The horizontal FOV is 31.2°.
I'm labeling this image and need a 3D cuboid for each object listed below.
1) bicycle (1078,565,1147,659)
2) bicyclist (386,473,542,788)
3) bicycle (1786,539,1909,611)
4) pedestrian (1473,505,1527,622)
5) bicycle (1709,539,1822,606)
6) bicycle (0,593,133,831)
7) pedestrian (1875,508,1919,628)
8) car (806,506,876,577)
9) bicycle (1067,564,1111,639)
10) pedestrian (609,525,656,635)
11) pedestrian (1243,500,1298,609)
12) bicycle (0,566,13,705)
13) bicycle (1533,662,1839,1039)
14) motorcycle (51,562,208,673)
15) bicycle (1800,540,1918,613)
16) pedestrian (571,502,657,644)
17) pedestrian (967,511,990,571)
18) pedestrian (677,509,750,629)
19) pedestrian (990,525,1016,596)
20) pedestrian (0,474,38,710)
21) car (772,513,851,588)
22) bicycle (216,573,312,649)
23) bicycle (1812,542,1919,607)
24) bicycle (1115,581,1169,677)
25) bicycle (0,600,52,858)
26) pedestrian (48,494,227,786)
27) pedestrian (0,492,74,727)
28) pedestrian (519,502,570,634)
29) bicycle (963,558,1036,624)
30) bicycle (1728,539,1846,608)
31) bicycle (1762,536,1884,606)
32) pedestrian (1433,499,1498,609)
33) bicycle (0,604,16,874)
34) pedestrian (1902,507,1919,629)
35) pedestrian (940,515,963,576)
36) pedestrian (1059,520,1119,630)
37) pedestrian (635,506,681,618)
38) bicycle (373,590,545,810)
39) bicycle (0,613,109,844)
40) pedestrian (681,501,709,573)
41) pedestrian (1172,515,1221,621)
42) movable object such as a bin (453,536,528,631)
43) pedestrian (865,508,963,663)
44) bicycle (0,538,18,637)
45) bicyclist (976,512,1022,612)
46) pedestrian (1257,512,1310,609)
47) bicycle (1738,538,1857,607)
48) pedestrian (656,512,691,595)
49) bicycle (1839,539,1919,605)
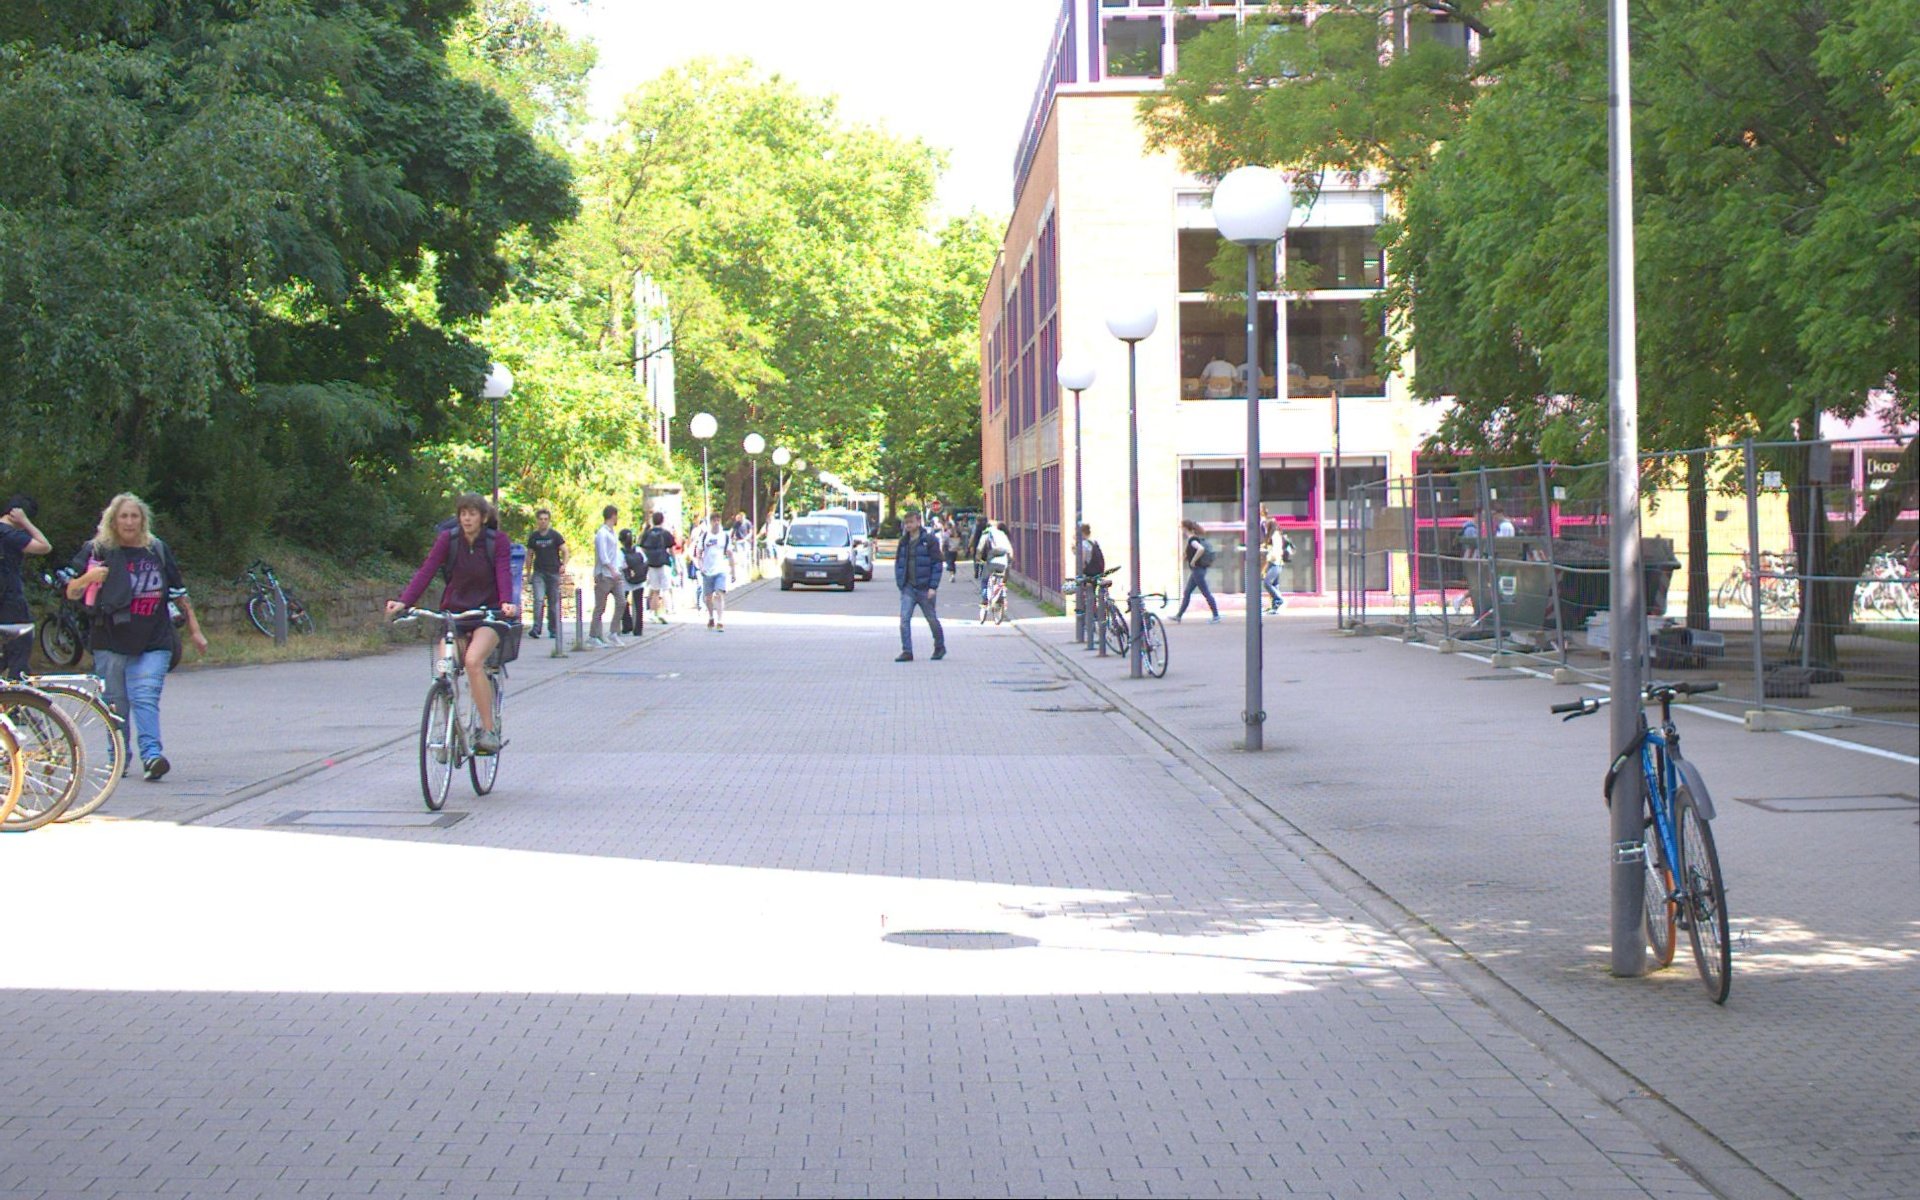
[{"bbox_3d":[1.832,0.132,41.547,0.708,1.089,1.749,0,1,-1],"label":"bicycle"},{"bbox_3d":[-2.757,0.165,19.187,0.771,1.710,0.911,1,0,-4],"label":"bicyclist"},{"bbox_3d":[14.112,-0.400,54.687,1.809,1.106,0.523,1,1,3],"label":"bicycle"},{"bbox_3d":[8.376,-0.560,53.339,0.767,1.788,0.588,-2,0,7],"label":"pedestrian"},{"bbox_3d":[13.829,-0.475,59.039,1.809,1.106,0.524,1,1,-2],"label":"bicycle"},{"bbox_3d":[-4.975,0.548,17.001,1.693,1.155,0.474,0,1,-9],"label":"bicycle"},{"bbox_3d":[13.857,-0.459,49.875,0.901,1.722,0.685,-1,-1,-5],"label":"pedestrian"},{"bbox_3d":[-3.327,-1.675,97.008,1.883,1.967,5.215,0,1,-1],"label":"car"},{"bbox_3d":[1.754,0.010,46.940,0.450,0.958,1.740,-3,1,-1],"label":"bicycle"},{"bbox_3d":[-4.824,-0.294,50.636,0.568,1.605,0.918,0,0,-13],"label":"pedestrian"},{"bbox_3d":[5.285,-0.772,58.583,0.825,1.838,0.685,0,0,-3],"label":"pedestrian"},{"bbox_3d":[-8.060,0.294,26.728,0.473,1.106,1.844,0,1,15],"label":"bicycle"},{"bbox_3d":[2.308,0.758,11.123,0.537,1.036,1.859,-1,1,-1],"label":"bicycle"},{"bbox_3d":[-8.451,0.167,34.941,2.024,1.043,0.473,3,2,42],"label":"motorcycle"},{"bbox_3d":[14.002,-0.375,53.563,1.694,1.106,0.474,1,1,3],"label":"bicycle"},{"bbox_3d":[-4.548,-0.358,45.155,0.783,1.839,1.118,0,1,-25],"label":"pedestrian"},{"bbox_3d":[0.516,-1.660,96.817,0.586,1.667,0.817,-2,0,1],"label":"pedestrian"},{"bbox_3d":[-3.892,-0.492,54.307,0.725,1.875,1.081,0,0,24],"label":"pedestrian"},{"bbox_3d":[1.035,-0.950,82.609,0.586,1.667,0.699,-2,0,1],"label":"pedestrian"},{"bbox_3d":[-7.774,-0.059,26.682,0.613,1.829,1.048,0,1,32],"label":"pedestrian"},{"bbox_3d":[-3.591,-1.240,83.822,1.790,1.755,4.482,-1,1,-1],"label":"car"},{"bbox_3d":[-8.485,0.141,41.965,0.421,0.907,1.739,0,0,14],"label":"bicycle"},{"bbox_3d":[15.804,-0.440,59.847,1.805,1.106,0.474,1,1,-6],"label":"bicycle"},{"bbox_3d":[1.880,0.288,35.629,0.395,0.932,1.732,-2,1,-1],"label":"bicycle"},{"bbox_3d":[-5.069,0.585,15.769,1.694,1.164,0.474,0,1,-7],"label":"bicycle"},{"bbox_3d":[-4.878,0.215,20.365,0.767,1.674,0.907,-2,2,-30],"label":"pedestrian"},{"bbox_3d":[-7.135,0.057,25.619,0.684,1.718,0.903,1,1,12],"label":"pedestrian"},{"bbox_3d":[-5.930,-0.454,49.127,0.682,1.866,1.121,0,0,-5],"label":"pedestrian"},{"bbox_3d":[0.673,-0.164,58.890,0.587,1.080,1.908,-1,1,-21],"label":"bicycle"},{"bbox_3d":[13.744,-0.446,57.170,1.809,1.106,0.524,1,1,-3],"label":"bicycle"},{"bbox_3d":[13.894,-0.469,55.346,1.809,1.106,0.524,1,1,-1],"label":"bicycle"},{"bbox_3d":[8.054,-0.730,54.754,0.902,1.722,0.684,-1,-1,18],"label":"pedestrian"},{"bbox_3d":[-5.028,0.598,14.918,1.776,1.164,0.474,0,1,12],"label":"bicycle"},{"bbox_3d":[14.024,-0.451,49.044,0.901,1.722,0.685,-1,-1,-5],"label":"pedestrian"},{"bbox_3d":[-0.224,-1.523,95.803,0.586,1.667,0.817,-2,0,1],"label":"pedestrian"},{"bbox_3d":[1.941,-0.375,51.852,0.852,1.645,0.588,0,0,7],"label":"pedestrian"},{"bbox_3d":[-4.960,-0.626,56.521,0.682,1.838,0.783,0,0,-1],"label":"pedestrian"},{"bbox_3d":[-2.774,0.526,19.209,0.771,1.146,2.108,1,0,-4],"label":"bicycle"},{"bbox_3d":[-4.990,0.610,16.532,1.694,1.087,0.474,0,1,-7],"label":"bicycle"},{"bbox_3d":[-6.776,-1.614,87.928,0.682,1.838,0.783,0,0,-1],"label":"pedestrian"},{"bbox_3d":[3.766,-0.510,54.726,0.697,1.667,0.588,-2,0,7],"label":"pedestrian"},{"bbox_3d":[-6.825,-0.250,50.050,0.709,1.332,1.239,2,1,9],"label":"movable object such as a bin"},{"bbox_3d":[-0.560,-0.187,42.121,0.886,1.851,1.031,1,1,19],"label":"pedestrian"},{"bbox_3d":[-10.558,-0.142,35.877,0.473,1.043,1.698,2,1,21],"label":"bicycle"},{"bbox_3d":[0.669,-0.657,58.898,0.587,1.710,0.665,-1,1,-21],"label":"bicyclist"},{"bbox_3d":[5.440,-0.658,57.876,0.780,1.615,0.685,0,0,-3],"label":"pedestrian"},{"bbox_3d":[13.683,-0.453,56.201,1.809,1.106,0.524,1,1,3],"label":"bicycle"},{"bbox_3d":[-5.664,-0.918,67.958,0.682,1.615,0.914,0,0,-5],"label":"pedestrian"},{"bbox_3d":[15.957,-0.475,58.611,1.805,1.106,0.474,1,1,-6],"label":"bicycle"}]
